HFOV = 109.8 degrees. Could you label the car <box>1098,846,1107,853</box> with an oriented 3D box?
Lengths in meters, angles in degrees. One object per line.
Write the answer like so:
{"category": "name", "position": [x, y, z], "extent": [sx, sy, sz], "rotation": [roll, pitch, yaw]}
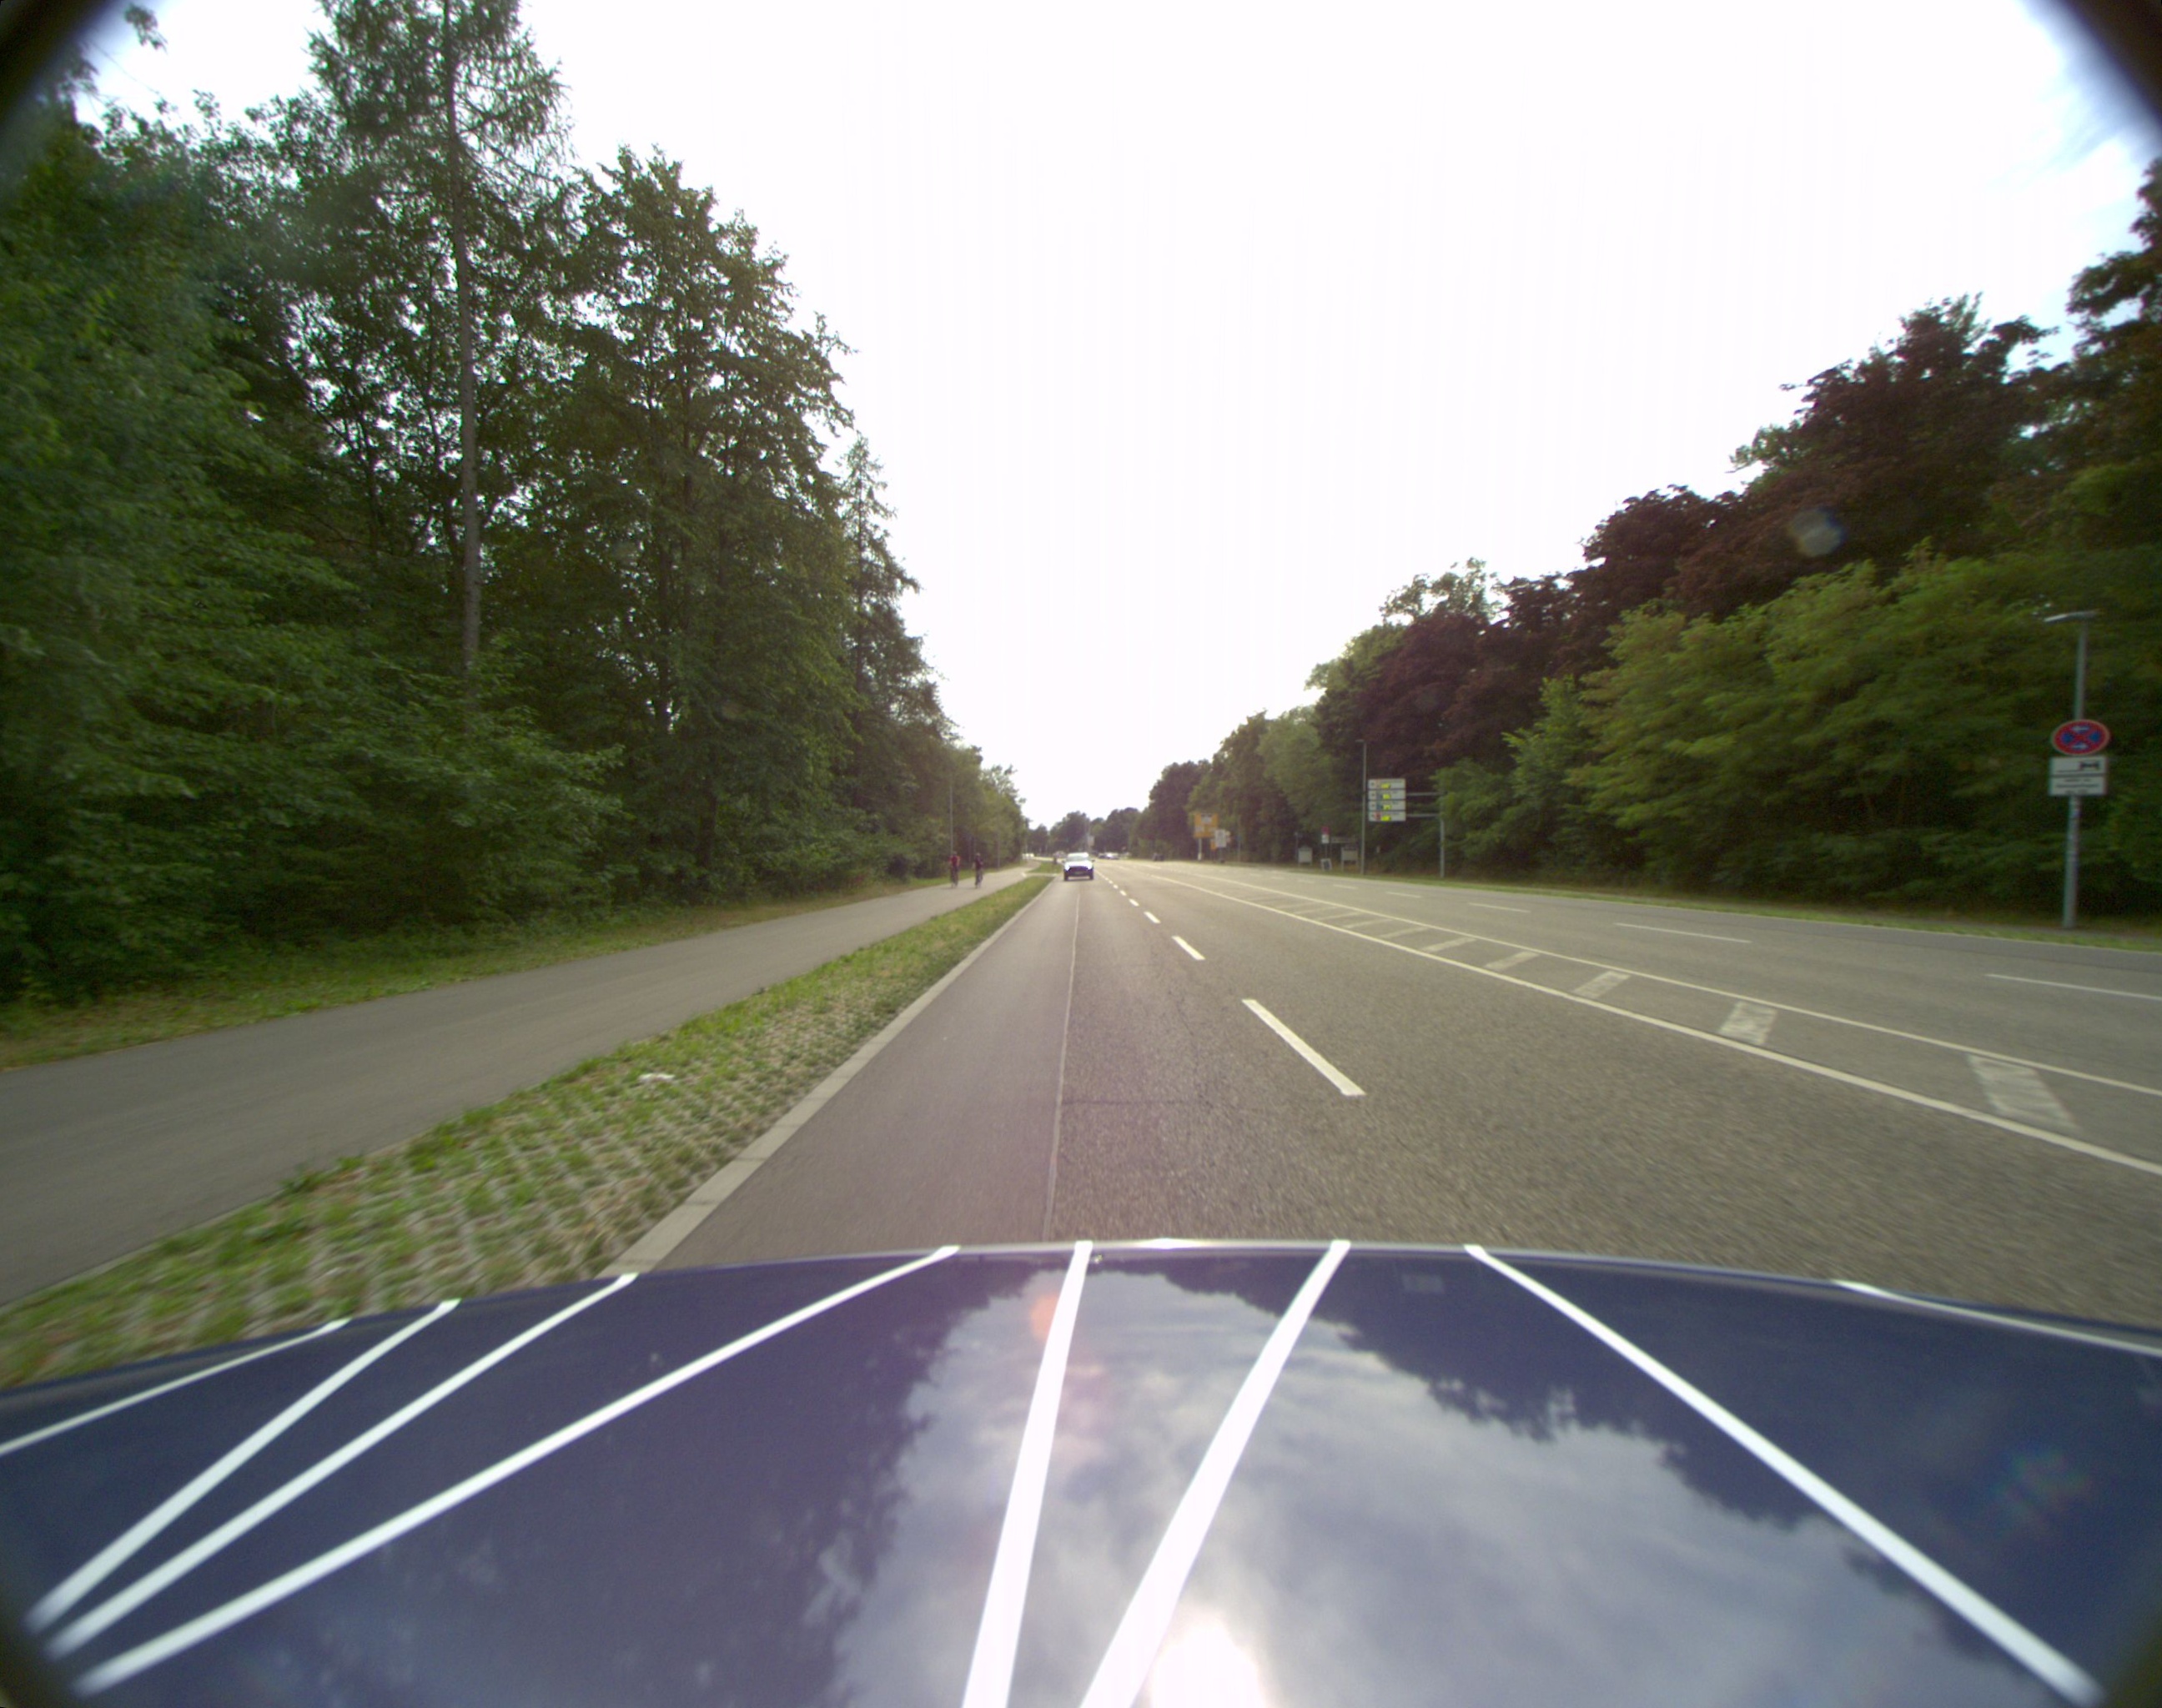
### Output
{"category": "car", "position": [6.271, -1.236, 223.472], "extent": [1.999, 1.871, 3.998], "rotation": [-3, 1, -4]}

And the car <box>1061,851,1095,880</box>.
{"category": "car", "position": [-0.147, 0.674, 47.727], "extent": [1.998, 1.565, 3.999], "rotation": [-3, 1, 1]}

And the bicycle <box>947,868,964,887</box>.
{"category": "bicycle", "position": [-6.116, 1.141, 37.179], "extent": [0.567, 0.906, 1.887], "rotation": [1, 0, -2]}

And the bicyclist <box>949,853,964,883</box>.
{"category": "bicyclist", "position": [-6.108, 0.669, 37.275], "extent": [0.521, 1.407, 1.186], "rotation": [-2, 1, -2]}

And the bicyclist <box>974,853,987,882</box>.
{"category": "bicyclist", "position": [-4.929, 0.652, 37.338], "extent": [0.521, 1.407, 1.186], "rotation": [-1, 1, -2]}

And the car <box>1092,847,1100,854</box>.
{"category": "car", "position": [4.752, -1.144, 238.448], "extent": [1.999, 2.002, 3.997], "rotation": [-3, 1, -6]}

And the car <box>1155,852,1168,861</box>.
{"category": "car", "position": [13.783, 0.407, 130.117], "extent": [1.745, 1.467, 3.999], "rotation": [-3, 1, 1]}

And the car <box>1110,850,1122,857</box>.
{"category": "car", "position": [8.394, -0.192, 183.147], "extent": [1.941, 1.492, 4.587], "rotation": [-3, 1, -8]}

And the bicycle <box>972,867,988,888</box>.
{"category": "bicycle", "position": [-4.939, 1.140, 37.316], "extent": [0.567, 0.906, 1.754], "rotation": [1, 1, -2]}

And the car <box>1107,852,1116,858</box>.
{"category": "car", "position": [8.577, 0.239, 213.716], "extent": [1.999, 1.585, 3.997], "rotation": [-3, 1, -5]}
